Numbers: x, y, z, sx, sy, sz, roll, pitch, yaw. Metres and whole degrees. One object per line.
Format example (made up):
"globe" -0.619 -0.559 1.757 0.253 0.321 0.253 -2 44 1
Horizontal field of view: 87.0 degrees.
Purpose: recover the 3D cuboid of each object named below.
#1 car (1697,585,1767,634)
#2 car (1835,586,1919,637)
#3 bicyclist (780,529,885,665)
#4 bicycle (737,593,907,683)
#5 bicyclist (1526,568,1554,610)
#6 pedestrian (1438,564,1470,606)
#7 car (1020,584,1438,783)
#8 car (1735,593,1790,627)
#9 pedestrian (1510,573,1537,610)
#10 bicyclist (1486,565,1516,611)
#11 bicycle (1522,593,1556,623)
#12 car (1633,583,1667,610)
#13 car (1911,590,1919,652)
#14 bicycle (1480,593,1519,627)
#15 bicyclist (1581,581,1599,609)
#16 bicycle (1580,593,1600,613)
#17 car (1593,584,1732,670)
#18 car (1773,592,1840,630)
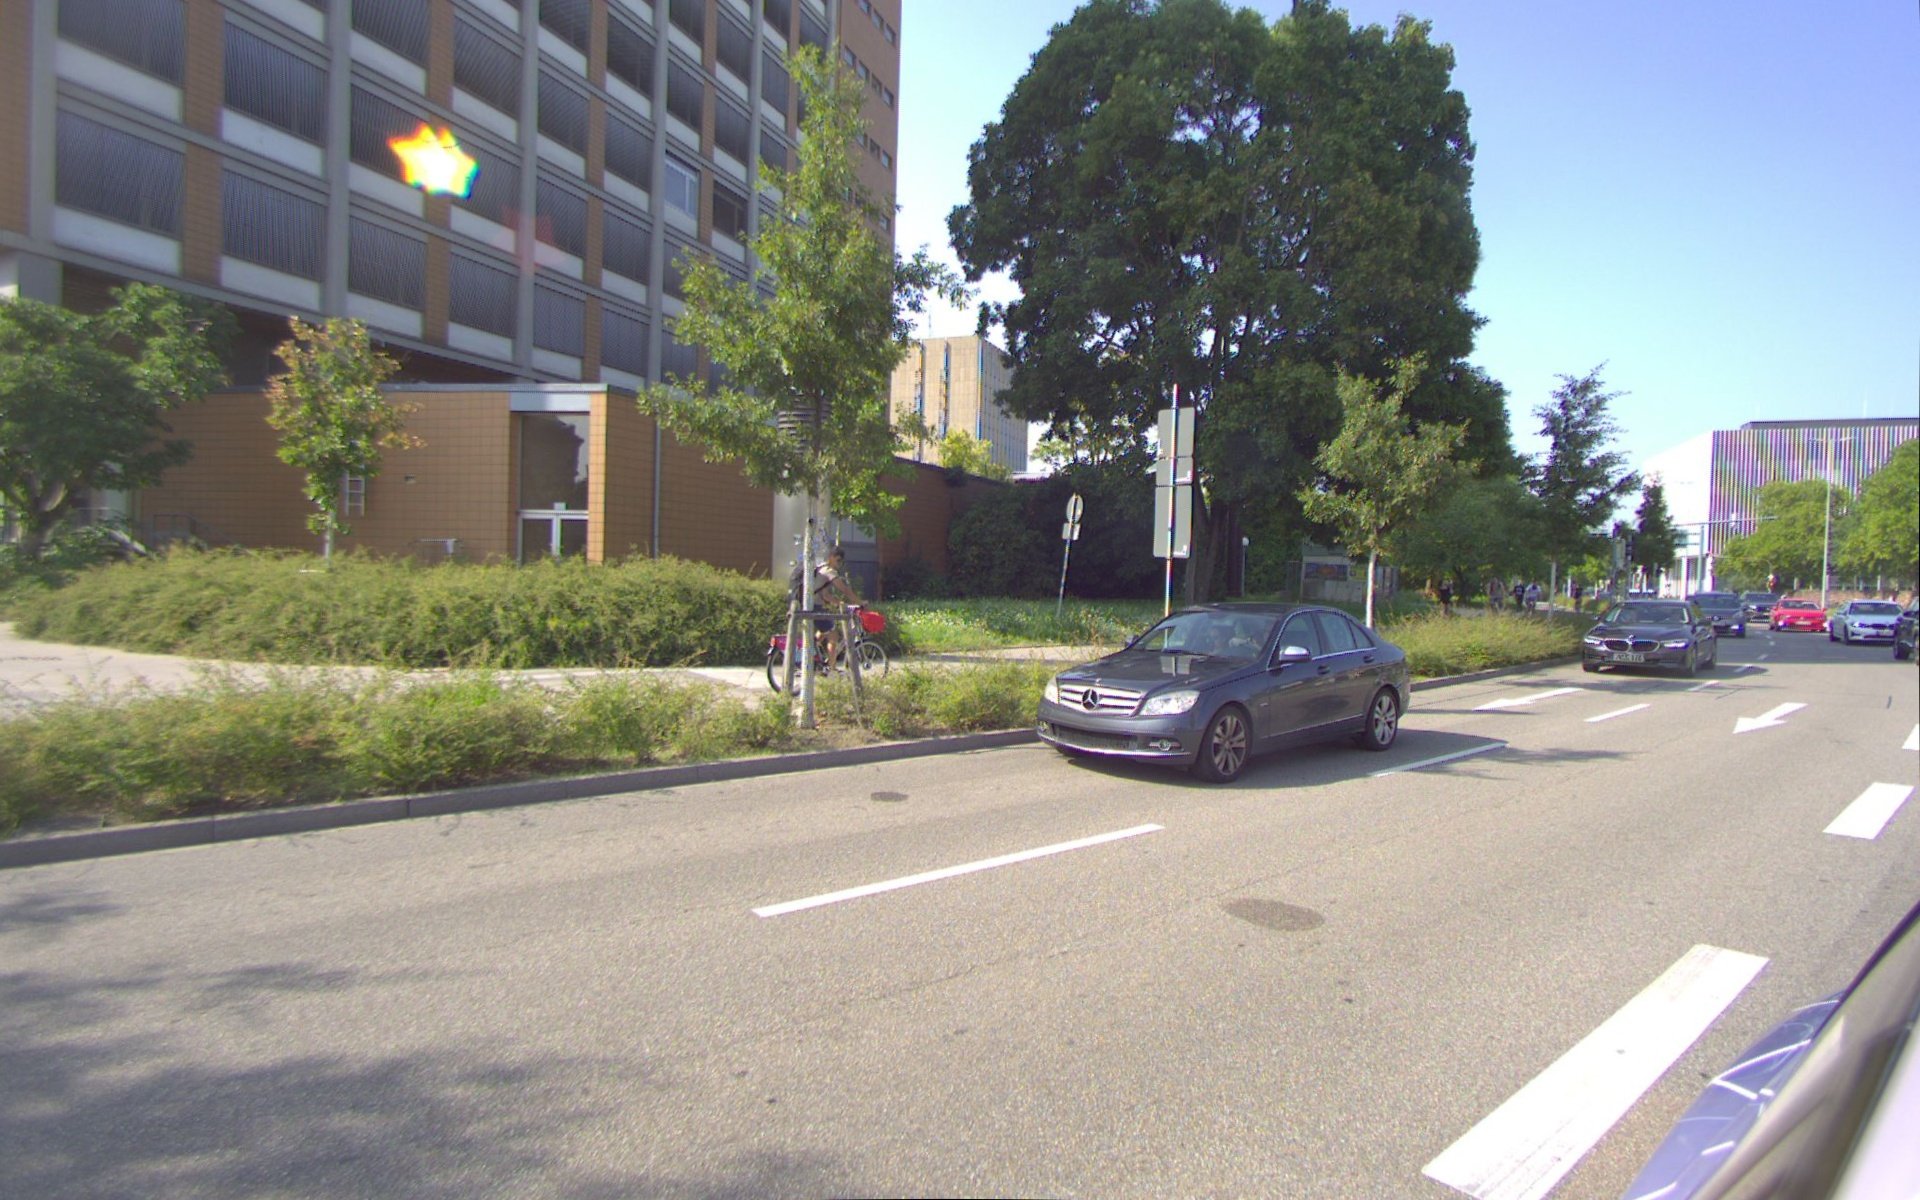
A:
"car" 28.755 0.299 37.805 1.772 1.625 4.368 3 2 34
"car" 30.090 0.330 33.057 1.773 1.501 4.476 2 2 35
"bicyclist" -1.521 -0.048 12.038 0.986 1.531 0.721 0 2 -39
"bicycle" -1.610 0.417 11.982 1.887 0.971 0.721 0 2 -39
"bicyclist" 22.845 -0.420 39.855 0.770 1.612 0.911 3 2 40
"pedestrian" 17.606 -0.533 36.037 0.842 1.461 0.726 0 2 -42
"car" 2.698 0.620 9.550 4.295 1.461 1.686 0 0 -41
"car" 44.855 0.516 56.634 1.770 1.713 4.484 2 2 31
"pedestrian" 28.299 -0.442 50.819 0.956 1.804 0.989 5 3 38
"bicyclist" 19.163 -0.430 35.843 0.770 1.613 0.911 2 1 39
"bicycle" 22.804 0.312 39.843 0.770 1.131 2.270 3 2 39
"car" 52.080 -0.302 76.418 1.674 1.966 4.327 2 2 30
"car" 23.539 0.518 23.491 1.678 1.510 4.314 0 1 37
"bicycle" 19.103 0.344 35.796 0.770 1.131 2.271 2 1 39
"bicyclist" 38.773 -0.321 62.295 0.766 1.697 0.916 1 1 26
"bicycle" 38.819 0.172 62.386 0.766 1.131 2.283 2 1 26
"car" 14.505 0.479 20.781 1.683 1.510 4.600 3 2 43
"car" 37.037 0.427 44.363 1.676 1.510 4.321 3 2 33
